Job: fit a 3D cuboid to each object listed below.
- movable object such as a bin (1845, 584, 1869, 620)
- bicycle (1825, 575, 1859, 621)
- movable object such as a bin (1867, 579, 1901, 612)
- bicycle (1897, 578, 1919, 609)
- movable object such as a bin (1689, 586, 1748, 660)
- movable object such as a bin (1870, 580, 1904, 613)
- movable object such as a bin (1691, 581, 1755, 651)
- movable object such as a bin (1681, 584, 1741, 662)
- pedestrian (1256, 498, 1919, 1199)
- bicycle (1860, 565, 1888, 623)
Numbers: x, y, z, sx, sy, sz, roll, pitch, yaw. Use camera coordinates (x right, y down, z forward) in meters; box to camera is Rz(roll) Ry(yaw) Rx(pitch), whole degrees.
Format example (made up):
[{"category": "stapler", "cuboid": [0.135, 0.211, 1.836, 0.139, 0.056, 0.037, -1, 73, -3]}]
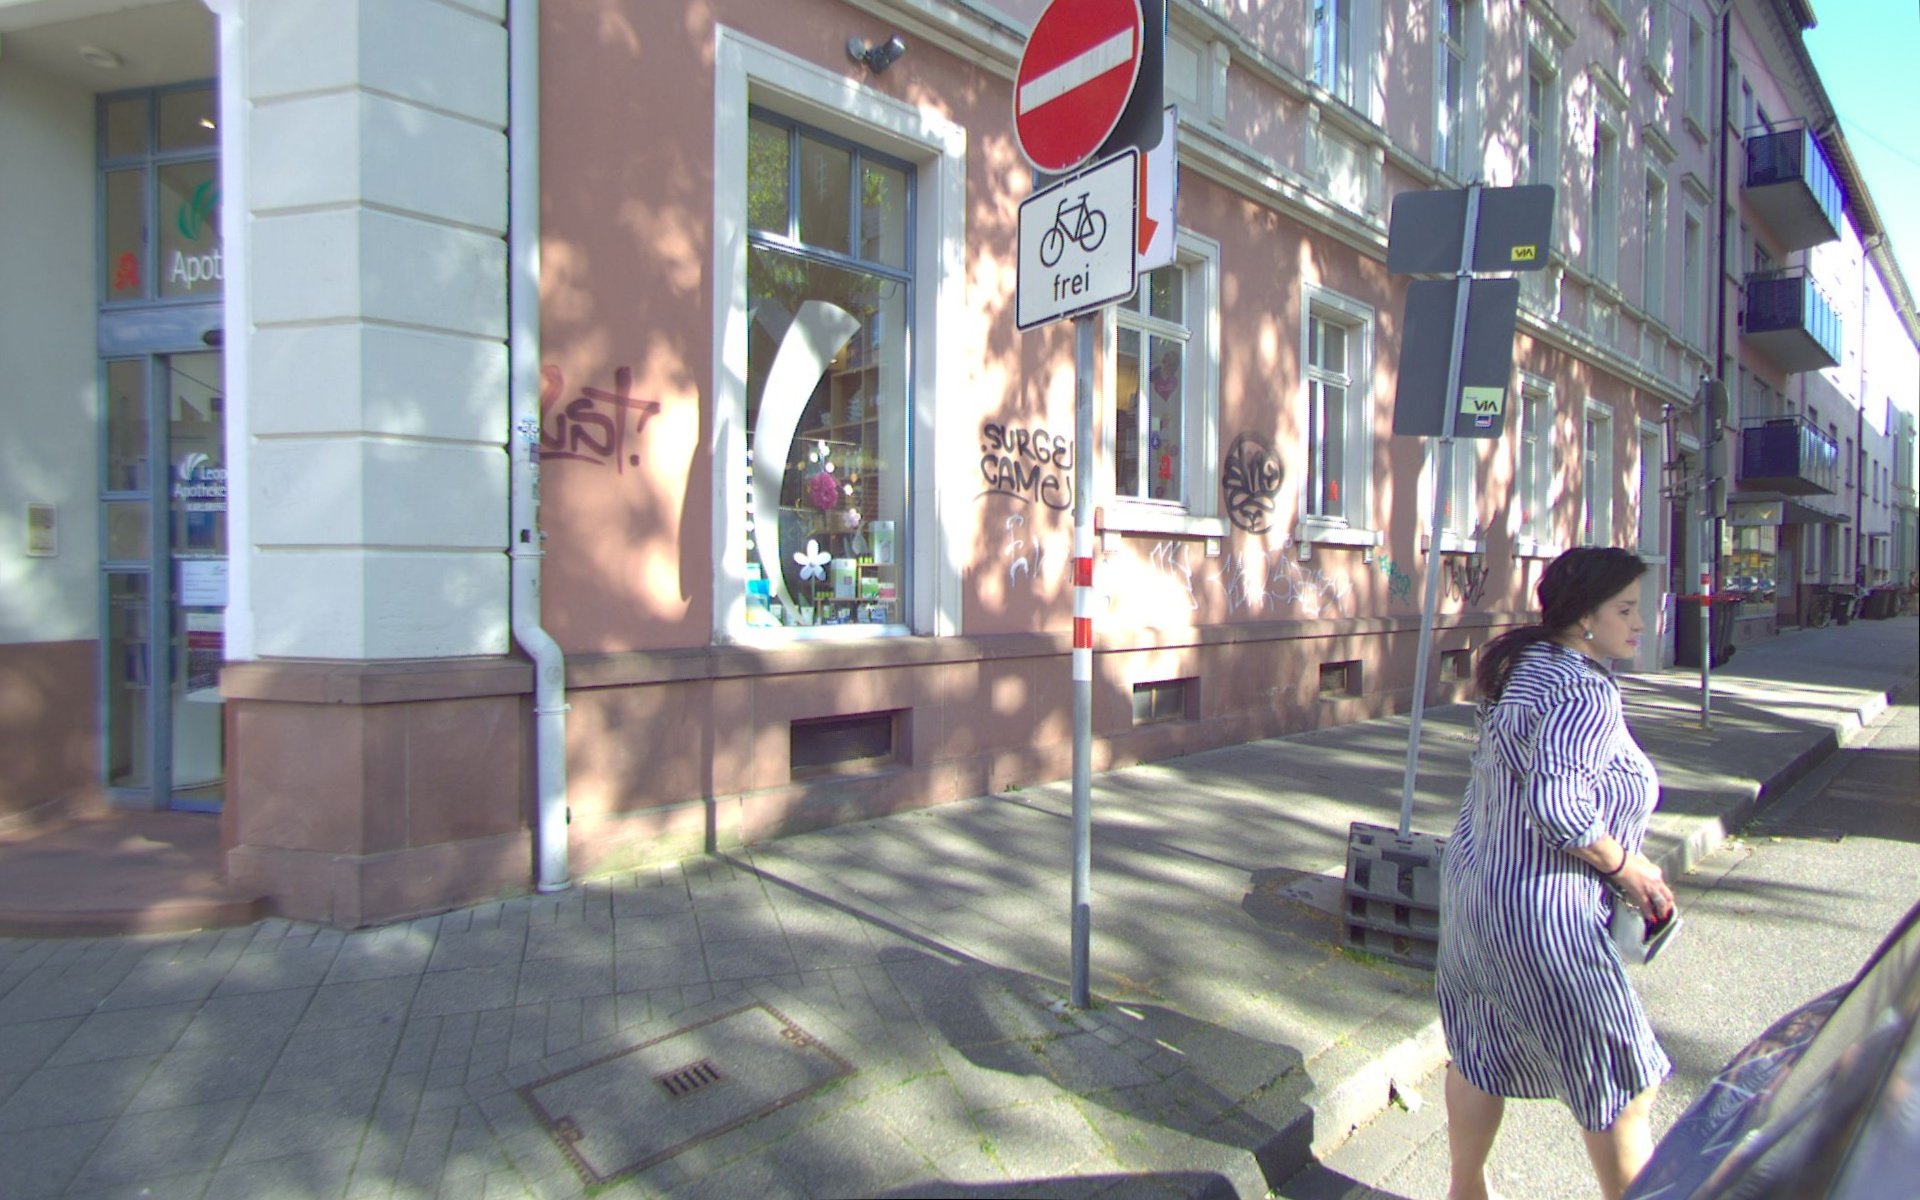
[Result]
[{"category": "movable object such as a bin", "cuboid": [24.795, 0.046, 27.973, 0.297, 0.951, 0.415, -1, 4, -43]}, {"category": "bicycle", "cuboid": [22.911, -0.078, 26.281, 1.990, 1.164, 0.402, -1, 1, -42]}, {"category": "movable object such as a bin", "cuboid": [29.837, -0.142, 32.669, 0.537, 1.014, 0.716, -1, 4, -43]}, {"category": "bicycle", "cuboid": [35.839, -0.261, 38.201, 1.899, 1.109, 0.489, -1, 2, -42]}, {"category": "movable object such as a bin", "cuboid": [11.666, 0.342, 15.567, 0.602, 1.071, 0.570, -1, 4, -43]}, {"category": "movable object such as a bin", "cuboid": [30.274, -0.133, 33.052, 0.537, 1.014, 0.716, -1, 4, -43]}, {"category": "movable object such as a bin", "cuboid": [12.866, 0.257, 17.075, 0.608, 1.097, 0.717, -1, 4, -43]}, {"category": "movable object such as a bin", "cuboid": [11.232, 0.329, 15.139, 0.643, 1.097, 0.570, -1, 4, -43]}, {"category": "pedestrian", "cuboid": [1.245, 0.594, 2.249, 0.831, 1.591, 0.847, 3, 5, 2]}, {"category": "bicycle", "cuboid": [28.468, -0.197, 31.500, 2.070, 1.757, 0.402, -1, 1, -42]}]
